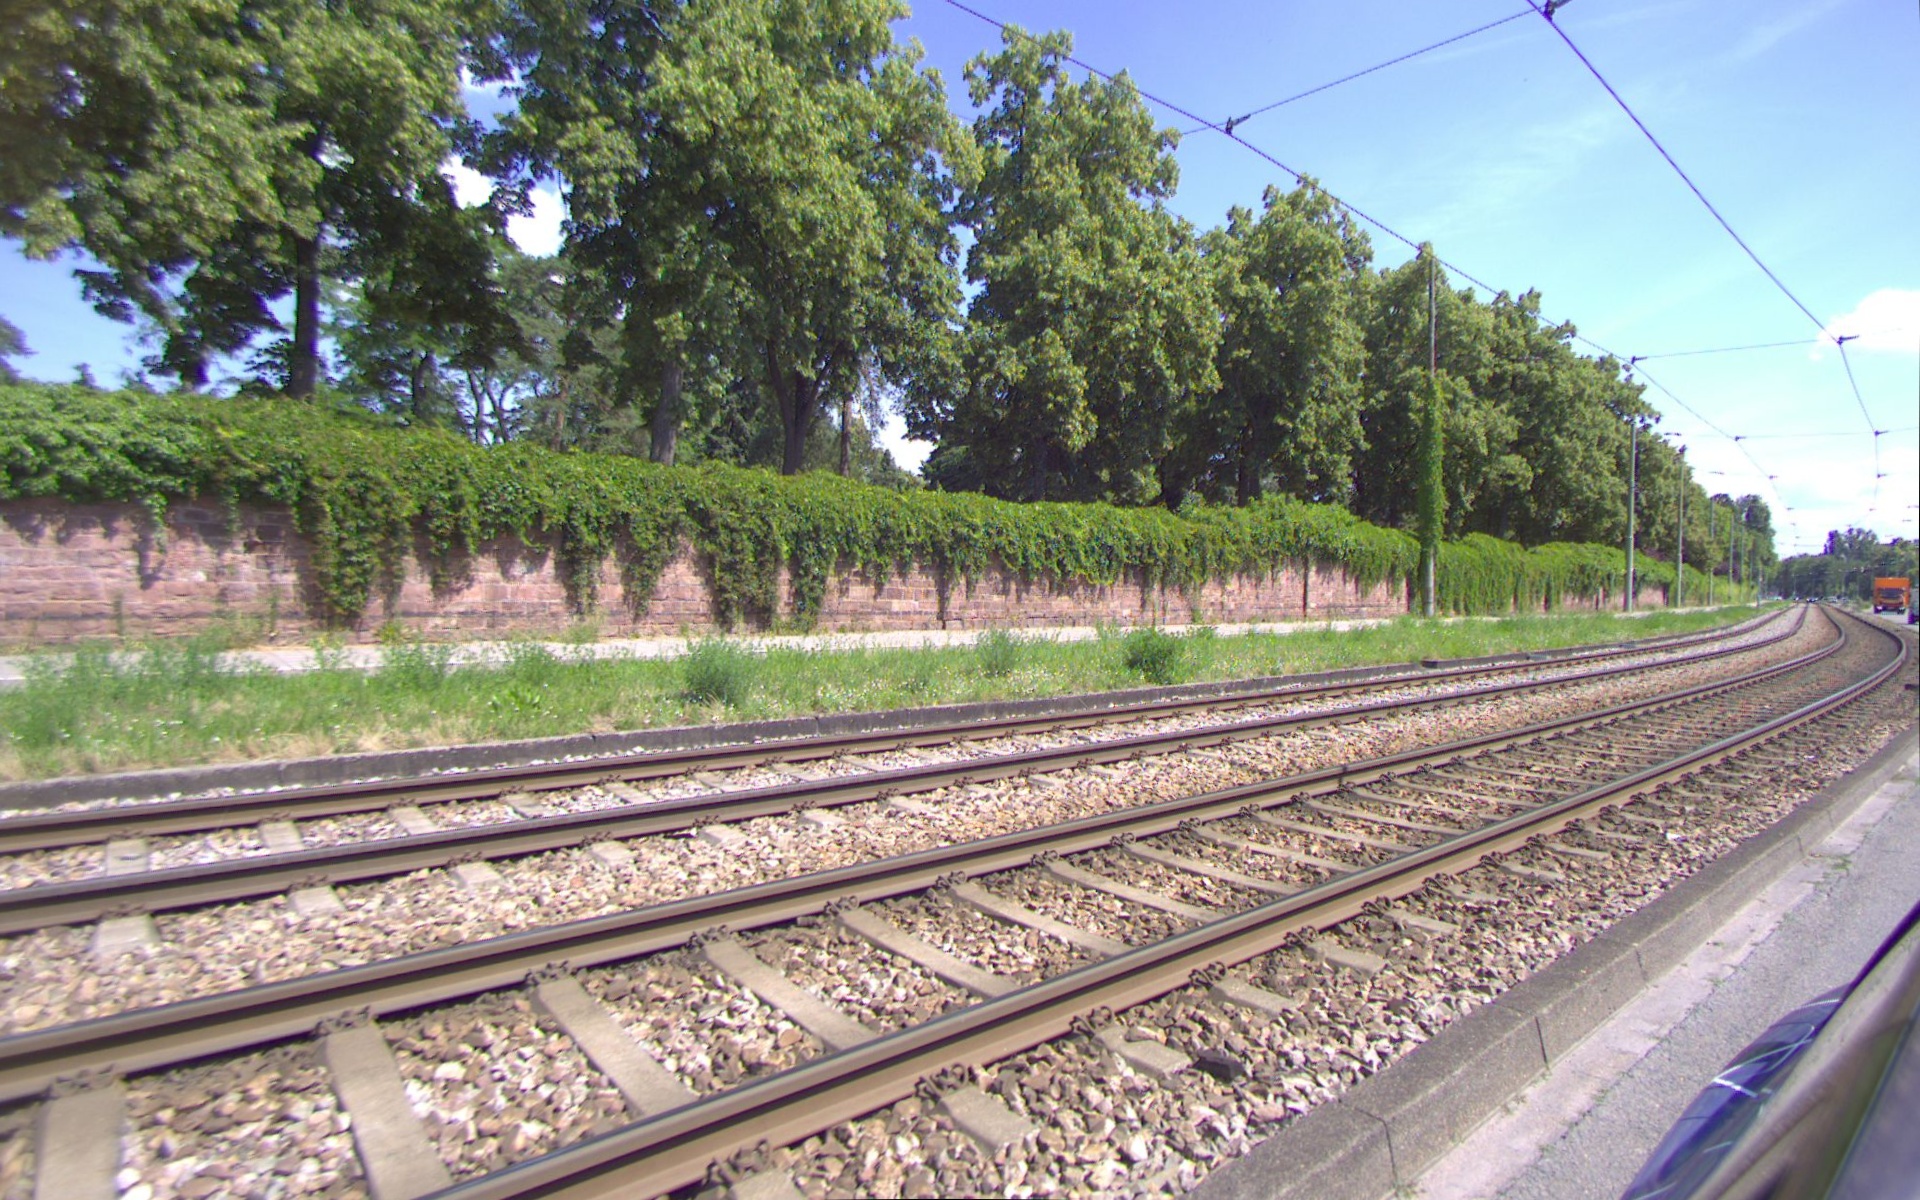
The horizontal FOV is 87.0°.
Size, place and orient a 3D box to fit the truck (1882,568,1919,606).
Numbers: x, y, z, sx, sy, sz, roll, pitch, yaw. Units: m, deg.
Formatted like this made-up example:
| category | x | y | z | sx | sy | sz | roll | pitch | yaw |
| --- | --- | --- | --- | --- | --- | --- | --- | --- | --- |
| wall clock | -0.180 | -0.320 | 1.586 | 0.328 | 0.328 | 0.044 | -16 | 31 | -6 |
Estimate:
| category | x | y | z | sx | sy | sz | roll | pitch | yaw |
| --- | --- | --- | --- | --- | --- | --- | --- | --- | --- |
| truck | 93.789 | -1.322 | 100.788 | 2.837 | 3.640 | 8.573 | 2 | 2 | 42 |

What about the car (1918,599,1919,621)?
| category | x | y | z | sx | sy | sz | roll | pitch | yaw |
| --- | --- | --- | --- | --- | --- | --- | --- | --- | --- |
| car | 57.039 | 0.581 | 58.706 | 1.995 | 1.370 | 3.936 | 6 | 5 | 44 |
